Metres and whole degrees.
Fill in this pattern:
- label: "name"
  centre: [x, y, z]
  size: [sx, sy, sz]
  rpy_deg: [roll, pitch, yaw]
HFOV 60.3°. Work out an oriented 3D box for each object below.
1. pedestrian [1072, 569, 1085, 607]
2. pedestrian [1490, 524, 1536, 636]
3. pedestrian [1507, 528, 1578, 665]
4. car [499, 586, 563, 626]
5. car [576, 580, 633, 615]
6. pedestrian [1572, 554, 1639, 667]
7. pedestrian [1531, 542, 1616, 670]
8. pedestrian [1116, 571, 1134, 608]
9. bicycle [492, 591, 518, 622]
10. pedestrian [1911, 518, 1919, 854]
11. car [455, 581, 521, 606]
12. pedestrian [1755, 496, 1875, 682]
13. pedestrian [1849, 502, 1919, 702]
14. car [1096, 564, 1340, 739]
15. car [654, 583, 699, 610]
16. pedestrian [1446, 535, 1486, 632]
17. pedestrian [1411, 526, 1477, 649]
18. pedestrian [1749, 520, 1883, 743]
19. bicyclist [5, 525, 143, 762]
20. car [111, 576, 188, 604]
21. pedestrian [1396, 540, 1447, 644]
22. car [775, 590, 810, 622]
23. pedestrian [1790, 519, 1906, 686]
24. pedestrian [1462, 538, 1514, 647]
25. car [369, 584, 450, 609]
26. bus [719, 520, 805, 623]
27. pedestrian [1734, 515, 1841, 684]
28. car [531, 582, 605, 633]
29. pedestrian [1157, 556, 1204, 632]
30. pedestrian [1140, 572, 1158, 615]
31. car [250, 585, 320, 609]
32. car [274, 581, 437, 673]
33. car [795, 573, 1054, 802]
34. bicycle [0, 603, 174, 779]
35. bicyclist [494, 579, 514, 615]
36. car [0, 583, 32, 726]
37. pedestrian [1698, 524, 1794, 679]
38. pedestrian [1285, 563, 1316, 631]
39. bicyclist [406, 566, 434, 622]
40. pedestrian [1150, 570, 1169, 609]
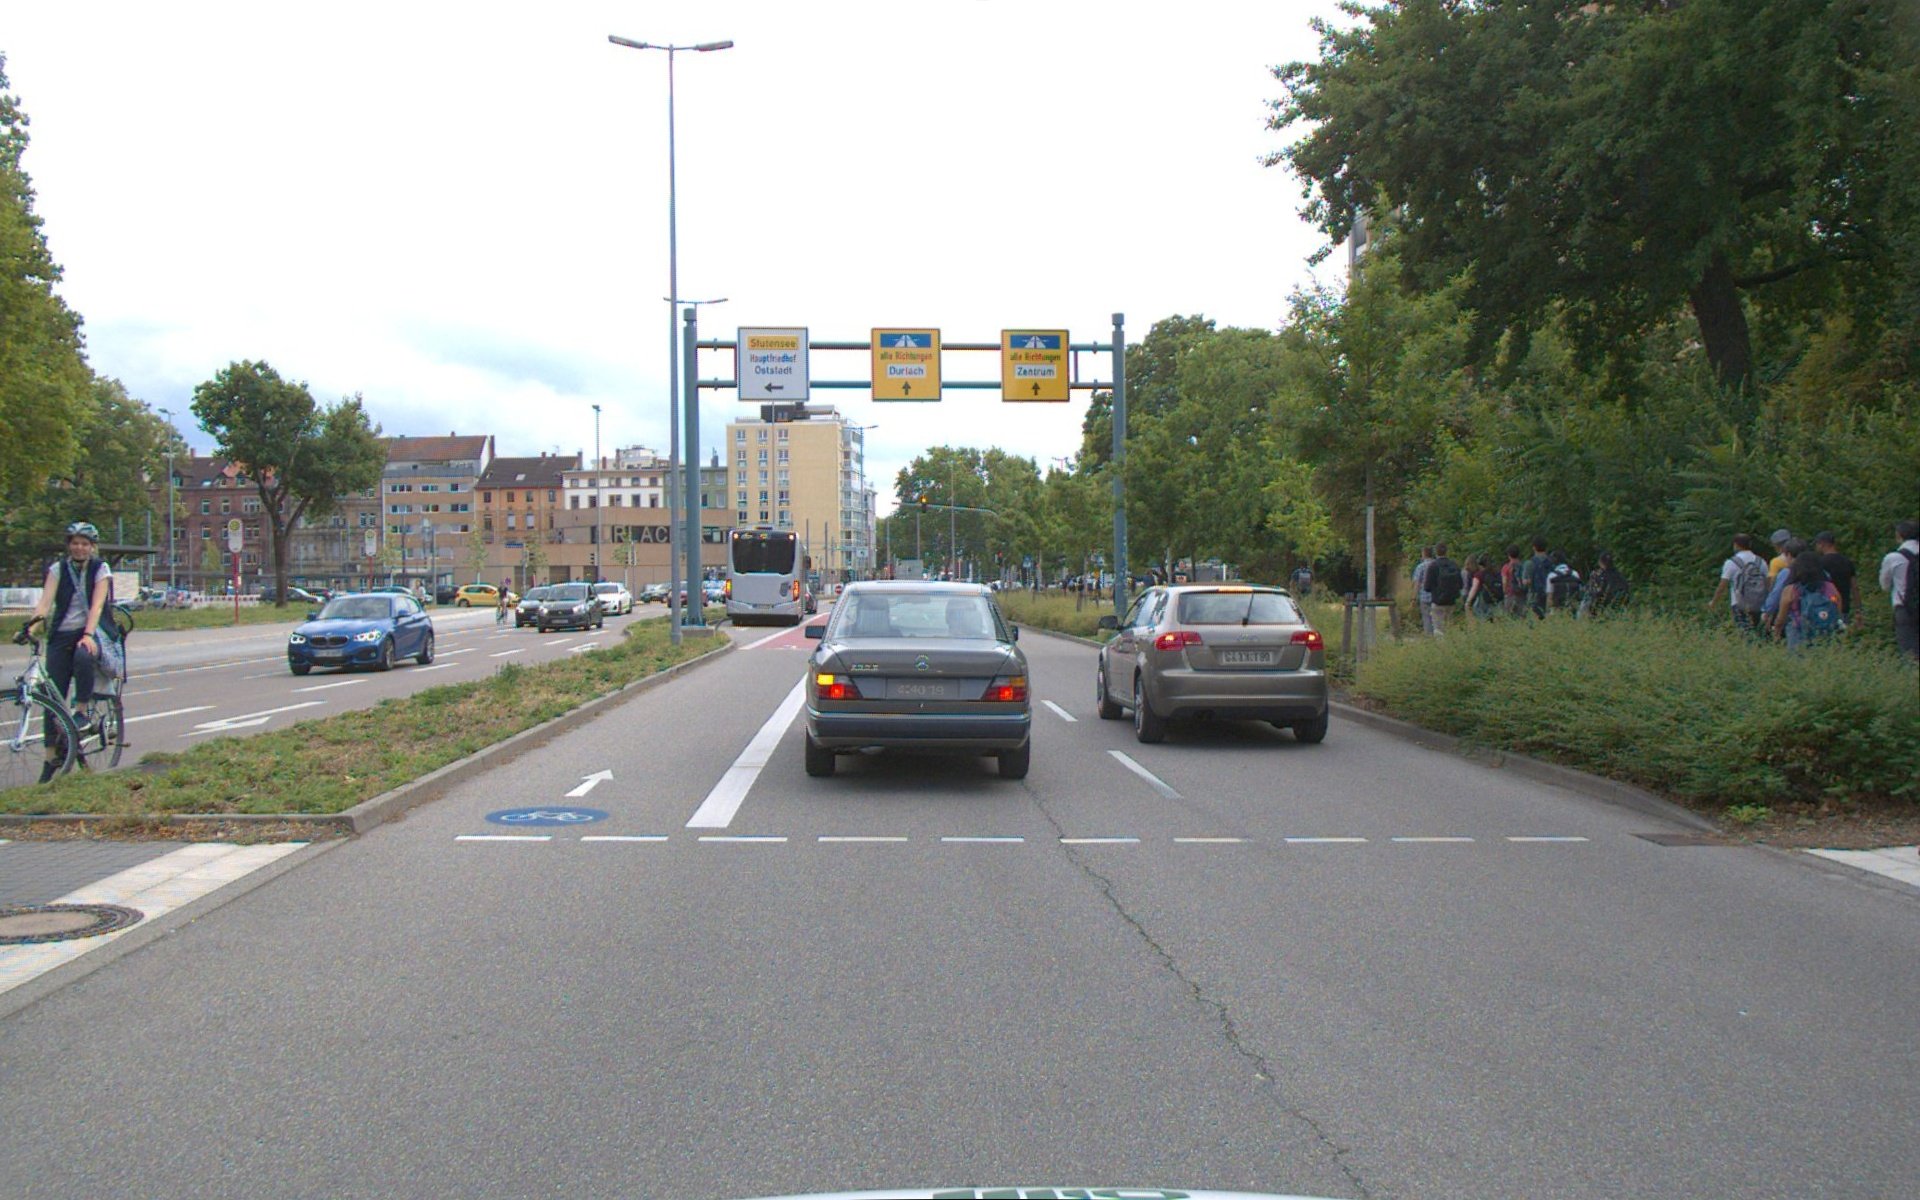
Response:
- label: "pedestrian"
  centre: [6.389, -0.640, 88.920]
  size: [0.602, 2.049, 0.597]
  rpy_deg: [0, 0, -5]
- label: "pedestrian"
  centre: [9.001, -0.324, 26.924]
  size: [0.474, 1.794, 0.663]
  rpy_deg: [-1, 1, -3]
- label: "pedestrian"
  centre: [8.041, -0.051, 22.843]
  size: [0.643, 1.853, 0.812]
  rpy_deg: [-1, 1, -3]
- label: "car"
  centre: [-15.838, 0.191, 61.180]
  size: [1.472, 1.389, 3.831]
  rpy_deg: [0, 1, -2]
- label: "car"
  centre: [-16.031, -0.124, 74.790]
  size: [1.765, 1.515, 4.414]
  rpy_deg: [-1, 1, -3]
- label: "pedestrian"
  centre: [9.429, 0.149, 24.182]
  size: [0.623, 1.611, 0.785]
  rpy_deg: [-1, 1, -3]
- label: "pedestrian"
  centre: [8.008, 0.070, 21.611]
  size: [0.760, 1.630, 0.812]
  rpy_deg: [-1, 1, -3]
- label: "pedestrian"
  centre: [7.869, -0.485, 78.714]
  size: [0.784, 1.743, 0.765]
  rpy_deg: [-1, 0, 10]
- label: "bicycle"
  centre: [-18.408, 0.258, 66.954]
  size: [0.570, 1.191, 1.964]
  rpy_deg: [-1, 1, -2]
- label: "pedestrian"
  centre: [5.352, 0.453, 8.441]
  size: [0.589, 1.765, 0.654]
  rpy_deg: [-1, 0, -6]
- label: "car"
  centre: [-29.641, -0.398, 103.922]
  size: [3.784, 1.544, 1.657]
  rpy_deg: [0, 0, -8]
- label: "pedestrian"
  centre: [7.957, -0.103, 15.411]
  size: [0.644, 1.677, 0.811]
  rpy_deg: [-1, 1, -5]
- label: "pedestrian"
  centre: [8.907, 0.004, 15.418]
  size: [0.644, 1.797, 0.957]
  rpy_deg: [-1, 1, -5]
- label: "car"
  centre: [2.392, 0.419, 16.177]
  size: [1.689, 1.483, 3.735]
  rpy_deg: [-1, 1, -2]
- label: "car"
  centre: [-16.303, -0.214, 95.242]
  size: [1.764, 1.515, 4.289]
  rpy_deg: [-1, 1, 0]
- label: "pedestrian"
  centre: [8.855, -0.288, 28.951]
  size: [0.458, 1.662, 0.653]
  rpy_deg: [-1, 1, -3]
- label: "pedestrian"
  centre: [7.431, -0.195, 25.412]
  size: [0.679, 1.853, 0.954]
  rpy_deg: [-1, 1, -3]
- label: "pedestrian"
  centre: [7.033, 0.245, 13.619]
  size: [0.644, 1.775, 0.779]
  rpy_deg: [-1, 1, -5]
- label: "bicyclist"
  centre: [-6.168, 0.290, 11.542]
  size: [0.560, 1.601, 0.699]
  rpy_deg: [-1, 1, 1]
- label: "car"
  centre: [-51.787, -0.647, 105.695]
  size: [4.077, 1.678, 1.643]
  rpy_deg: [-1, 1, -9]
- label: "pedestrian"
  centre: [7.949, -0.142, 28.507]
  size: [0.606, 1.765, 0.814]
  rpy_deg: [-1, 1, -3]
- label: "car"
  centre: [-7.932, 0.260, 78.362]
  size: [1.623, 1.421, 3.856]
  rpy_deg: [-1, 1, -6]
- label: "pedestrian"
  centre: [9.359, 0.019, 17.459]
  size: [0.644, 1.696, 0.970]
  rpy_deg: [-1, 1, -5]
- label: "pedestrian"
  centre: [8.312, -0.117, 26.052]
  size: [0.544, 1.683, 0.753]
  rpy_deg: [-1, 1, -3]
- label: "car"
  centre: [-34.255, -0.205, 103.003]
  size: [4.582, 1.501, 1.657]
  rpy_deg: [1, 0, -8]
- label: "bus"
  centre: [-7.015, -1.018, 59.577]
  size: [2.776, 3.449, 8.175]
  rpy_deg: [-1, 1, -5]
- label: "pedestrian"
  centre: [8.665, -0.011, 17.349]
  size: [0.644, 1.719, 0.841]
  rpy_deg: [-1, 1, -5]
- label: "car"
  centre: [-12.384, 0.196, 52.416]
  size: [1.540, 1.515, 3.635]
  rpy_deg: [-1, 1, -2]
- label: "pedestrian"
  centre: [5.472, -0.162, 41.081]
  size: [0.915, 1.862, 0.887]
  rpy_deg: [-1, 1, 24]
- label: "pedestrian"
  centre: [7.792, -0.263, 68.125]
  size: [0.632, 1.743, 0.562]
  rpy_deg: [-1, 0, 12]
- label: "car"
  centre: [-41.635, -0.185, 102.127]
  size: [3.693, 1.419, 1.582]
  rpy_deg: [1, 0, -9]
- label: "car"
  centre: [-11.258, 0.449, 31.077]
  size: [1.766, 1.537, 4.101]
  rpy_deg: [-1, 1, -4]
- label: "car"
  centre: [-0.312, 0.556, 13.203]
  size: [1.726, 1.515, 4.169]
  rpy_deg: [-1, 1, -2]
- label: "bicycle"
  centre: [-6.169, 0.580, 11.385]
  size: [0.561, 1.074, 1.926]
  rpy_deg: [-1, 1, 1]
- label: "bicyclist"
  centre: [-18.409, -0.112, 66.776]
  size: [0.568, 1.443, 0.811]
  rpy_deg: [-1, 1, -1]
- label: "car"
  centre: [-11.026, 0.611, 16.005]
  size: [1.765, 1.515, 4.287]
  rpy_deg: [-1, 1, -2]
- label: "pedestrian"
  centre: [9.267, 0.011, 19.523]
  size: [0.707, 1.775, 0.812]
  rpy_deg: [-1, 1, -3]
- label: "pedestrian"
  centre: [8.590, -0.082, 41.768]
  size: [0.575, 1.712, 0.748]
  rpy_deg: [-1, 1, -3]
- label: "bicyclist"
  centre: [-17.771, -0.194, 54.450]
  size: [0.605, 1.813, 0.811]
  rpy_deg: [-1, 0, 2]
- label: "pedestrian"
  centre: [7.653, -0.405, 63.384]
  size: [0.643, 1.496, 0.562]
  rpy_deg: [-1, 0, 14]
